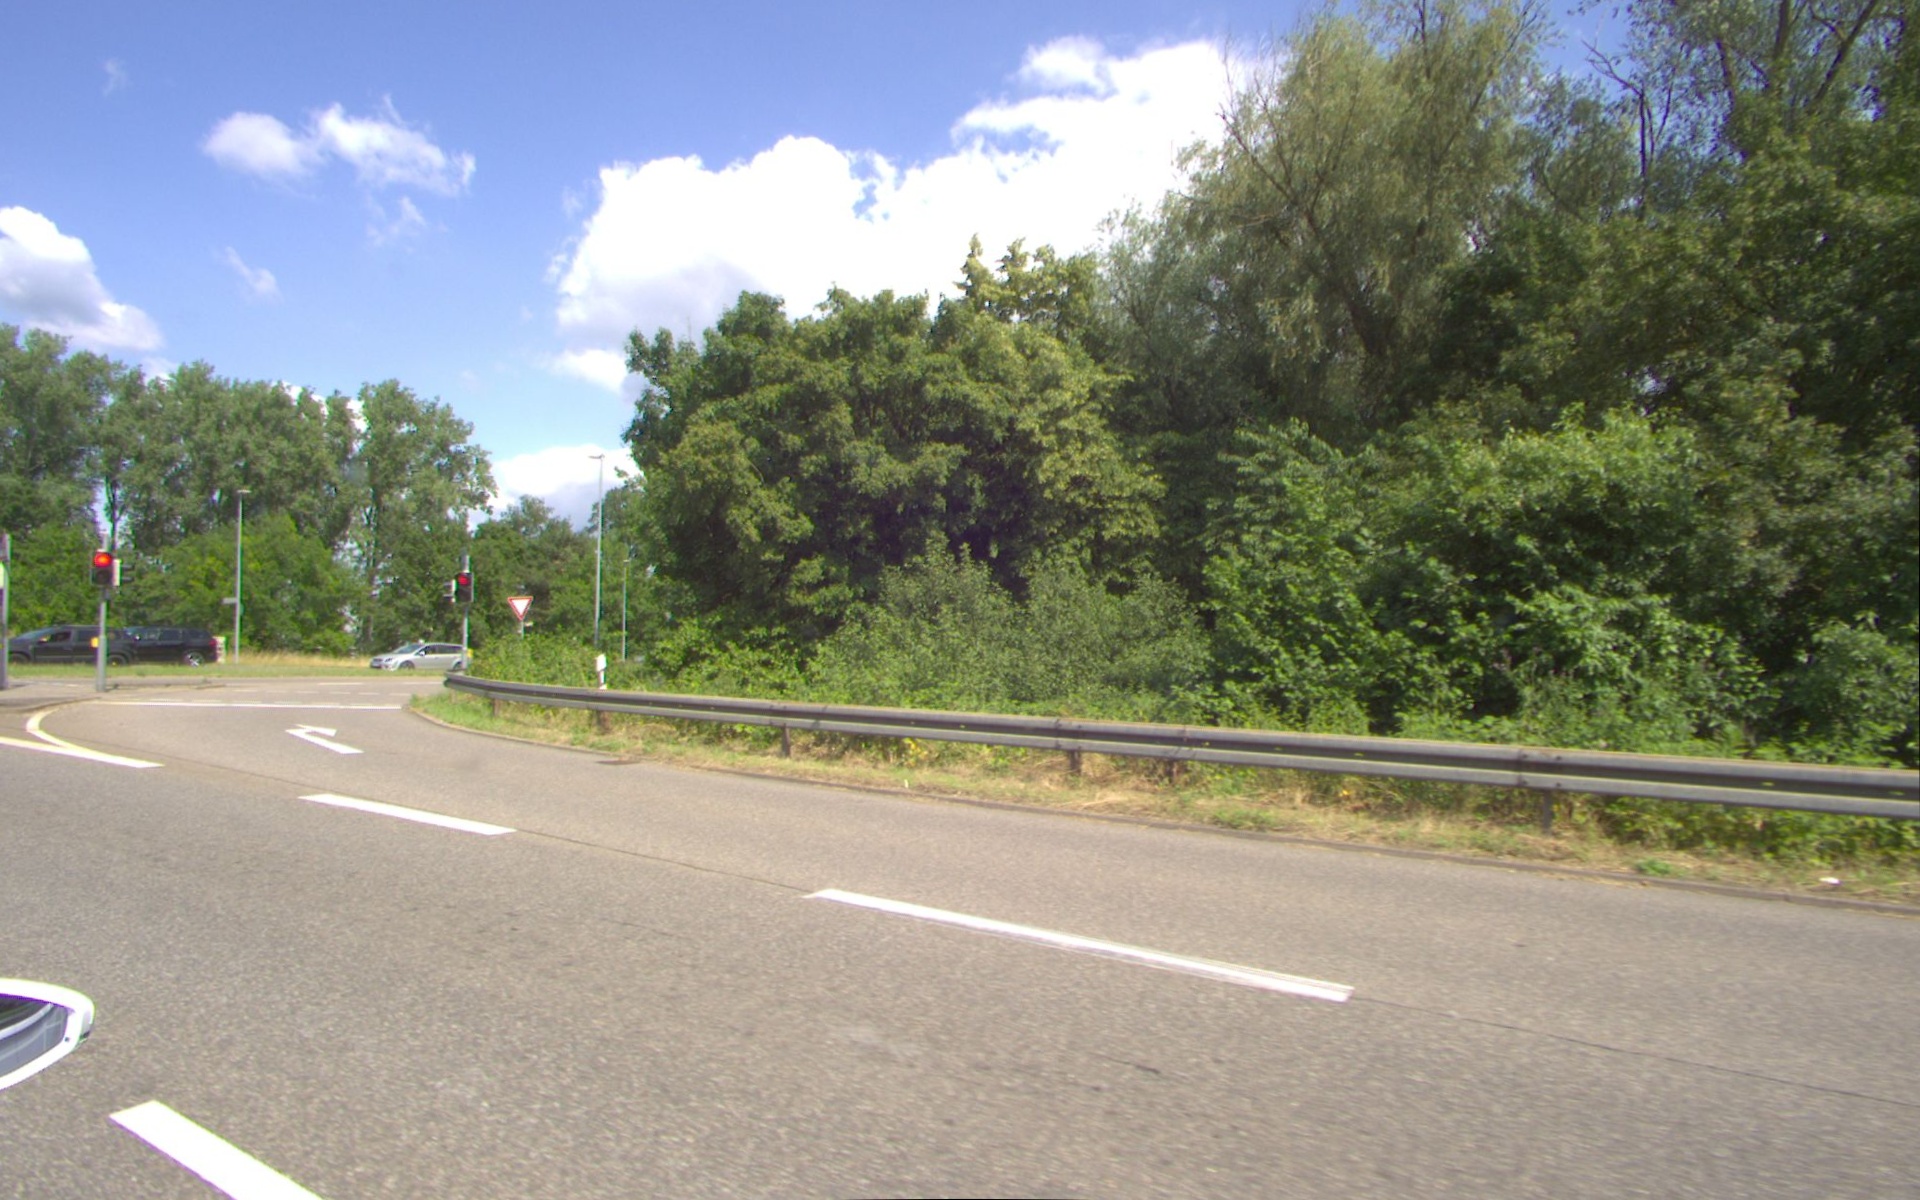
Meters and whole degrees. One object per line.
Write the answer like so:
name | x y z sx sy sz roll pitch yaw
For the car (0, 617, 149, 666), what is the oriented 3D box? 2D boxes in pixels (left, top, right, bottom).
car | -30.419 1.420 33.919 1.711 1.564 4.264 0 -2 30

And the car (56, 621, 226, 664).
car | -31.801 1.670 39.065 1.711 1.564 4.843 0 -2 30

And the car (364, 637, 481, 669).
car | -24.202 2.394 45.256 1.710 1.337 4.472 0 -2 28
